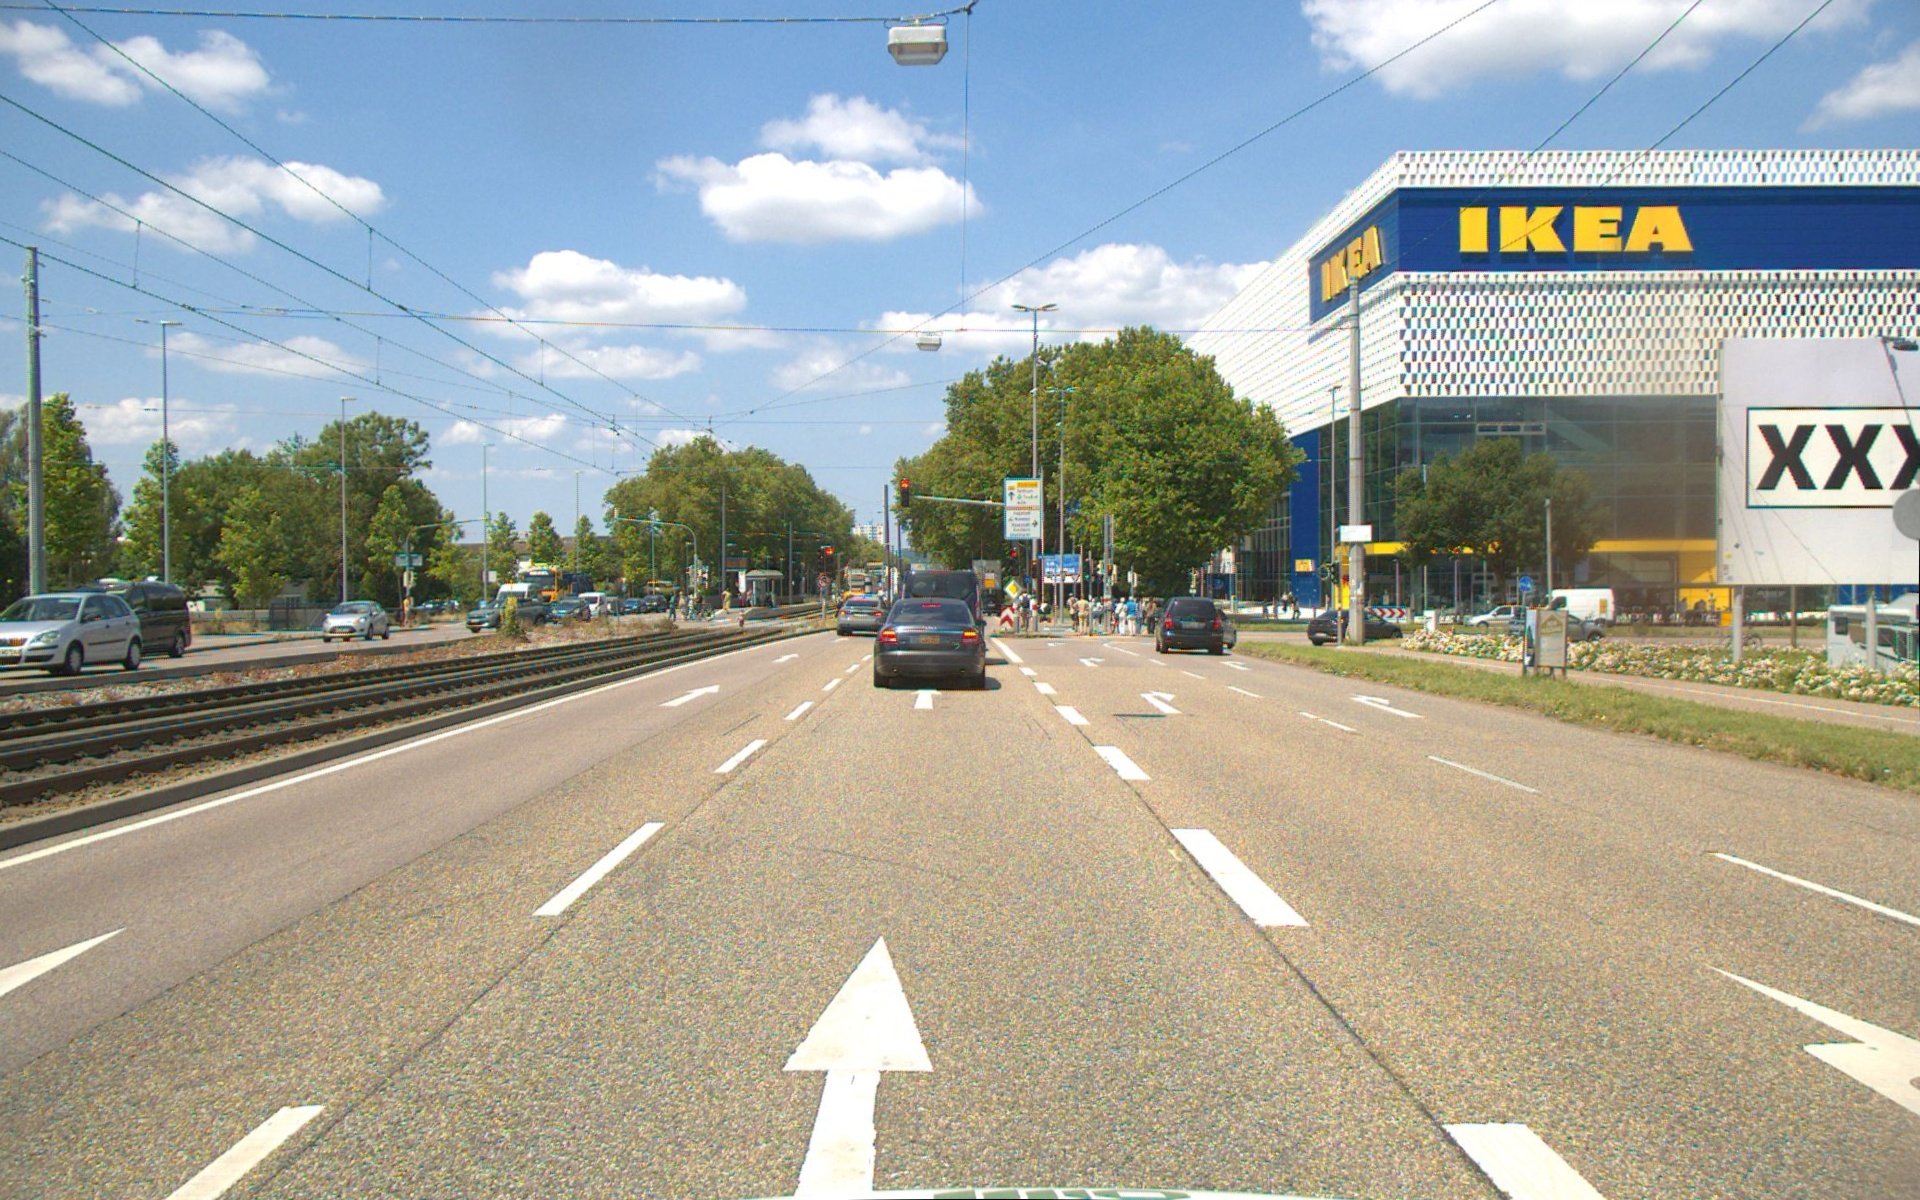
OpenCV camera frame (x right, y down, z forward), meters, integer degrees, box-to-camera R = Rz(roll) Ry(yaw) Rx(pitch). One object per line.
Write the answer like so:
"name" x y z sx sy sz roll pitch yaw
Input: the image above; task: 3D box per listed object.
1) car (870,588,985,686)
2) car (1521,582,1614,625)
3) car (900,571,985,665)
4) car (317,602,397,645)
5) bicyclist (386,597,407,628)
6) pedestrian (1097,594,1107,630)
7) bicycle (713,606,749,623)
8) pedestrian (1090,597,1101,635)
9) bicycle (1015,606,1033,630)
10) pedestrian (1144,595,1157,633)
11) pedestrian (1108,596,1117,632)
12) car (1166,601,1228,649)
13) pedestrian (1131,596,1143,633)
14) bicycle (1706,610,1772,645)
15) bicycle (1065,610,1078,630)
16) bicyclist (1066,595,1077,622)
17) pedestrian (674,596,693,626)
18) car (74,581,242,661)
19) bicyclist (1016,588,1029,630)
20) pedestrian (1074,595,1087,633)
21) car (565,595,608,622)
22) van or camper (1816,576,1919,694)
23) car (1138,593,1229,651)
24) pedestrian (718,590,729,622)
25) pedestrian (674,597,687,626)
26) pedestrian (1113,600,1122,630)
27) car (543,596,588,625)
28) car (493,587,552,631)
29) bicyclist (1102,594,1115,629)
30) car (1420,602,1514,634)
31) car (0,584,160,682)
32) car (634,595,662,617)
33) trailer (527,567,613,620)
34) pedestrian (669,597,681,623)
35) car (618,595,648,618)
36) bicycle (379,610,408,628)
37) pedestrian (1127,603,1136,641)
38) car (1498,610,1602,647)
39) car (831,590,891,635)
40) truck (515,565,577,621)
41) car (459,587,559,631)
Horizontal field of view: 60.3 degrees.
"car" -0.528 0.560 27.523 1.756 1.480 3.999 -1 0 -1
"car" 34.639 0.184 94.439 4.658 2.349 2.002 1 0 9
"car" -0.403 0.369 37.251 1.799 1.984 3.999 0 0 -1
"car" -22.239 0.841 61.106 1.787 1.440 3.879 -2 0 -5
"bicyclist" -32.603 0.724 95.711 1.097 1.805 0.340 1 0 -6
"pedestrian" 6.457 0.547 75.239 0.373 1.663 0.377 1 0 2
"bicycle" -13.367 0.860 96.586 2.019 0.941 0.751 1 0 -11
"pedestrian" 5.979 0.715 73.121 0.435 1.663 0.430 1 0 2
"bicycle" 2.829 0.785 73.660 0.673 1.011 2.751 1 0 0
"pedestrian" 8.660 0.628 75.146 0.510 1.699 0.494 1 0 2
"pedestrian" 6.939 0.639 75.225 0.332 1.663 0.377 1 0 2
"car" 8.056 0.819 56.434 1.951 1.512 4.169 2 0 7
"pedestrian" 8.056 0.650 75.149 0.493 1.663 0.449 1 0 2
"bicycle" 33.983 1.190 72.171 2.372 1.507 0.989 1 0 4
"bicycle" 5.052 0.904 74.939 0.538 0.892 1.698 1 0 2
"bicyclist" 5.038 0.389 74.901 0.461 1.214 0.791 0 0 2
"pedestrian" -16.608 0.668 99.439 0.806 1.750 0.775 1 0 21
"car" -20.315 0.488 42.157 1.954 1.862 4.967 -2 0 -2
"bicyclist" 2.756 0.397 73.316 0.518 1.820 1.088 0 0 0
"pedestrian" 5.327 0.607 73.161 0.542 1.663 0.433 1 0 2
"car" -25.061 0.537 111.221 1.785 1.699 4.461 2 0 1
"van or camper" 26.443 0.934 45.359 2.454 3.073 7.226 1 0 3
"car" 6.290 0.585 46.897 1.953 1.512 3.999 2 0 -1
"pedestrian" -15.120 0.384 105.731 0.672 2.049 0.572 1 -1 -5
"pedestrian" -16.171 0.642 95.808 0.671 1.666 0.572 1 -1 -4
"pedestrian" 6.989 0.674 73.238 0.365 1.326 0.365 1 0 2
"car" -24.808 0.640 104.061 1.785 1.699 4.460 2 0 -1
"car" -27.926 0.528 105.759 2.198 2.634 6.233 -2 1 -2
"bicyclist" 7.628 0.599 85.044 0.517 1.795 0.828 0 0 13
"car" 27.042 0.958 88.257 4.403 1.512 2.001 2 0 3
"car" -16.266 0.565 29.939 1.651 1.611 4.057 -3 0 -2
"car" -28.081 0.568 148.817 1.781 1.916 3.999 1 0 -1
"trailer" -28.338 -0.453 121.011 2.711 3.580 15.874 1 0 -1
"pedestrian" -16.669 0.592 96.726 0.671 1.468 0.572 1 0 -4
"car" -28.065 0.544 142.086 1.781 1.916 3.999 1 0 -1
"bicycle" -32.785 1.117 95.700 1.461 1.004 0.485 1 0 -5
"pedestrian" 7.580 0.968 73.099 0.314 1.663 0.377 1 0 2
"car" 26.734 1.271 74.958 4.065 1.512 1.992 2 0 -16
"car" -3.585 0.437 60.641 1.953 1.512 3.999 2 0 -1
"truck" -28.225 -0.457 113.006 2.711 3.631 6.438 1 0 -1
"car" -21.199 0.429 77.868 1.957 1.951 4.402 2 0 30
